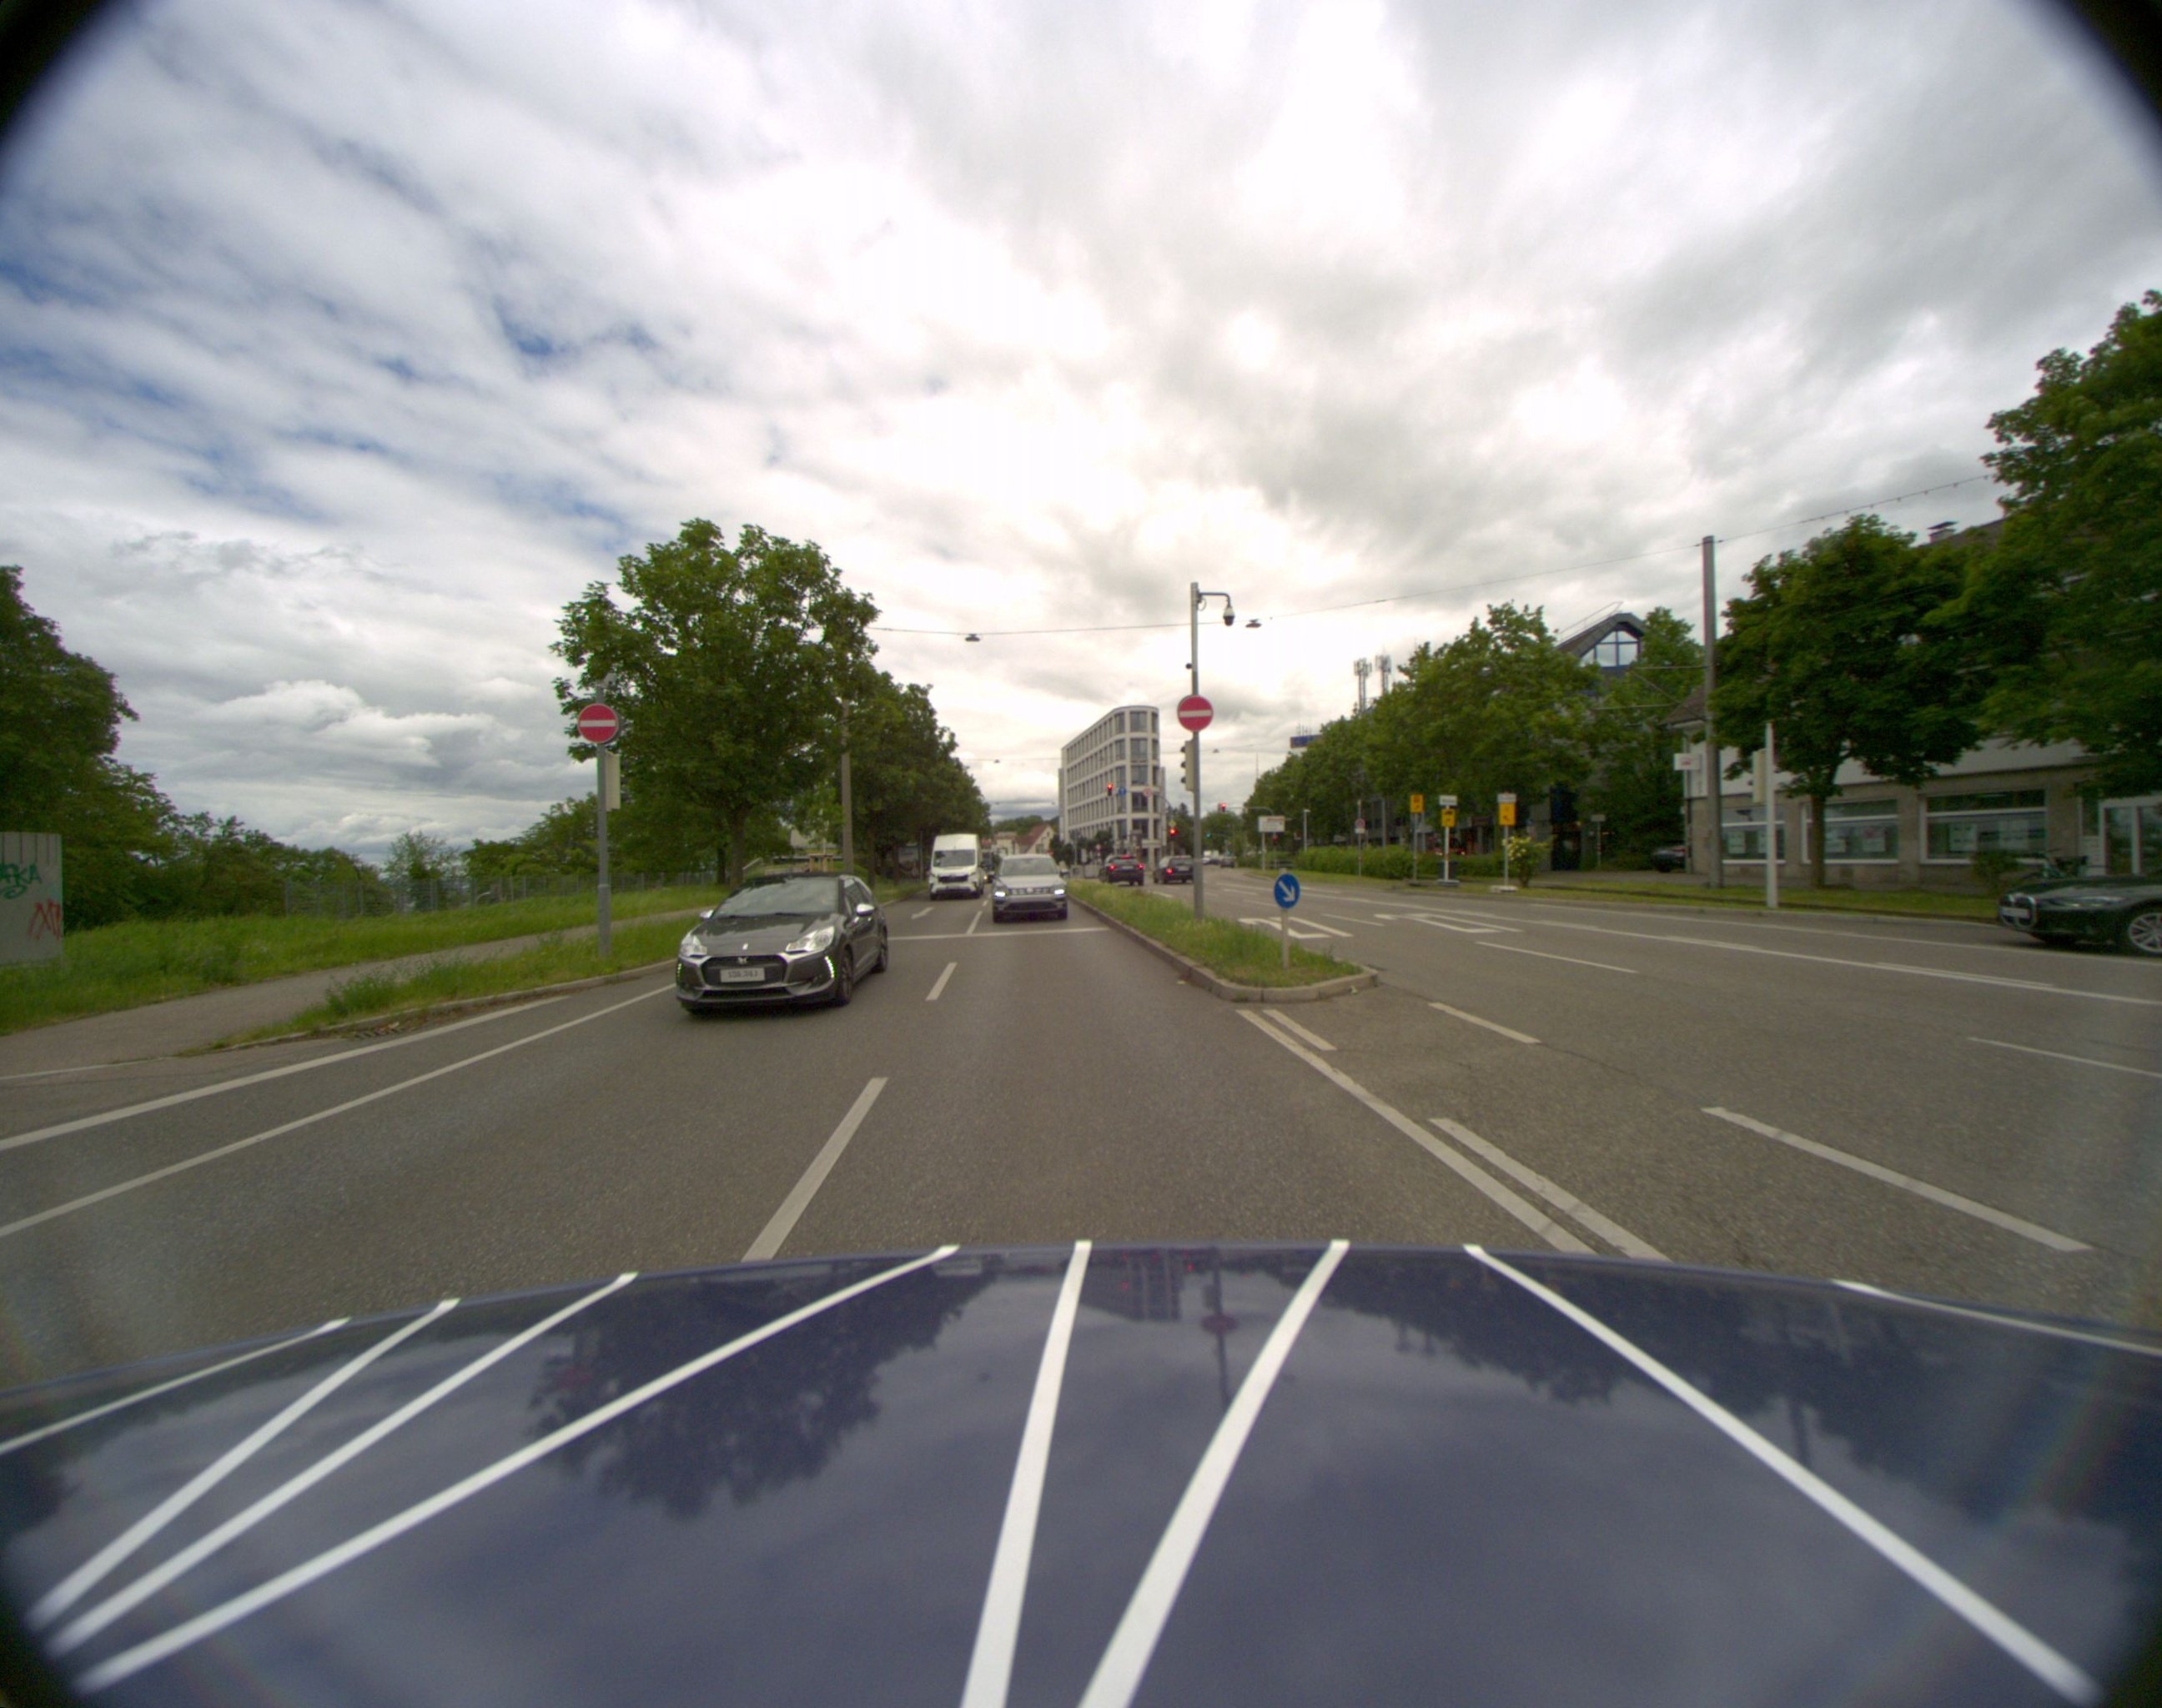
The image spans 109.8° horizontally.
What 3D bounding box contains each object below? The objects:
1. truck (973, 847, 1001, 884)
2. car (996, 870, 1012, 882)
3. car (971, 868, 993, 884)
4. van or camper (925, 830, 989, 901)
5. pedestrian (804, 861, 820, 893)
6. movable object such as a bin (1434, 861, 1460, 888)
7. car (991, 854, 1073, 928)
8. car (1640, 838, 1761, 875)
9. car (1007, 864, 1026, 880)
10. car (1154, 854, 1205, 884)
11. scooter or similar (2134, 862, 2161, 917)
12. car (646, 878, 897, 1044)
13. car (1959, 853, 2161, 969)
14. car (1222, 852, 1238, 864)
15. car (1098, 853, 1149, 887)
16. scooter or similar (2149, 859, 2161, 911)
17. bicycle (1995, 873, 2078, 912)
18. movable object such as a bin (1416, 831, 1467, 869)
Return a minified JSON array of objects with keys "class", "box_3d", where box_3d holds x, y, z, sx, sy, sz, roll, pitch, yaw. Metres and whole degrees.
[{"class":"truck","box_3d":[-10.669,1.293,86.885,2.828,3.902,9.453,-3,0,-7]},{"class":"car","box_3d":[-10.784,3.077,106.352,1.738,1.558,4.323,-4,-1,-13]},{"class":"car","box_3d":[-10.110,2.210,77.589,1.989,1.434,4.157,-3,0,-6]},{"class":"van or camper","box_3d":[-5.236,0.486,32.830,2.111,2.674,6.297,-3,0,-5]},{"class":"pedestrian","box_3d":[-13.520,1.154,38.221,0.542,1.594,0.702,3,-1,-5]},{"class":"movable object such as a bin","box_3d":[13.960,0.775,29.006,0.565,1.006,0.838,-2,0,-3]},{"class":"car","box_3d":[-1.289,0.884,19.817,1.834,1.636,4.325,-3,0,-4]},{"class":"car","box_3d":[27.018,0.114,33.200,4.002,1.417,1.858,-2,-1,-8]},{"class":"car","box_3d":[-6.750,1.905,79.083,1.855,1.520,4.487,-3,-2,-5]},{"class":"car","box_3d":[5.056,0.780,39.622,1.788,1.417,4.395,-2,-1,-4]},{"class":"scooter or similar","box_3d":[21.232,0.695,14.602,0.490,1.039,1.177,-1,0,10]},{"class":"car","box_3d":[-3.487,1.093,9.403,1.706,1.452,4.060,-3,0,-5]},{"class":"car","box_3d":[14.824,0.681,9.520,4.671,1.372,1.829,-1,1,23]},{"class":"car","box_3d":[21.201,0.551,108.504,1.786,1.528,4.398,-3,-1,6]},{"class":"car","box_3d":[2.101,0.829,38.744,1.894,1.555,4.394,-2,-1,-6]},{"class":"scooter or similar","box_3d":[22.563,0.643,15.260,0.603,1.079,1.177,-1,0,6]},{"class":"bicycle","box_3d":[20.385,0.817,16.216,1.262,0.800,0.424,-1,1,-1]},{"class":"movable object such as a bin","box_3d":[25.244,-0.261,53.357,1.909,2.517,4.128,-2,0,6]}]
